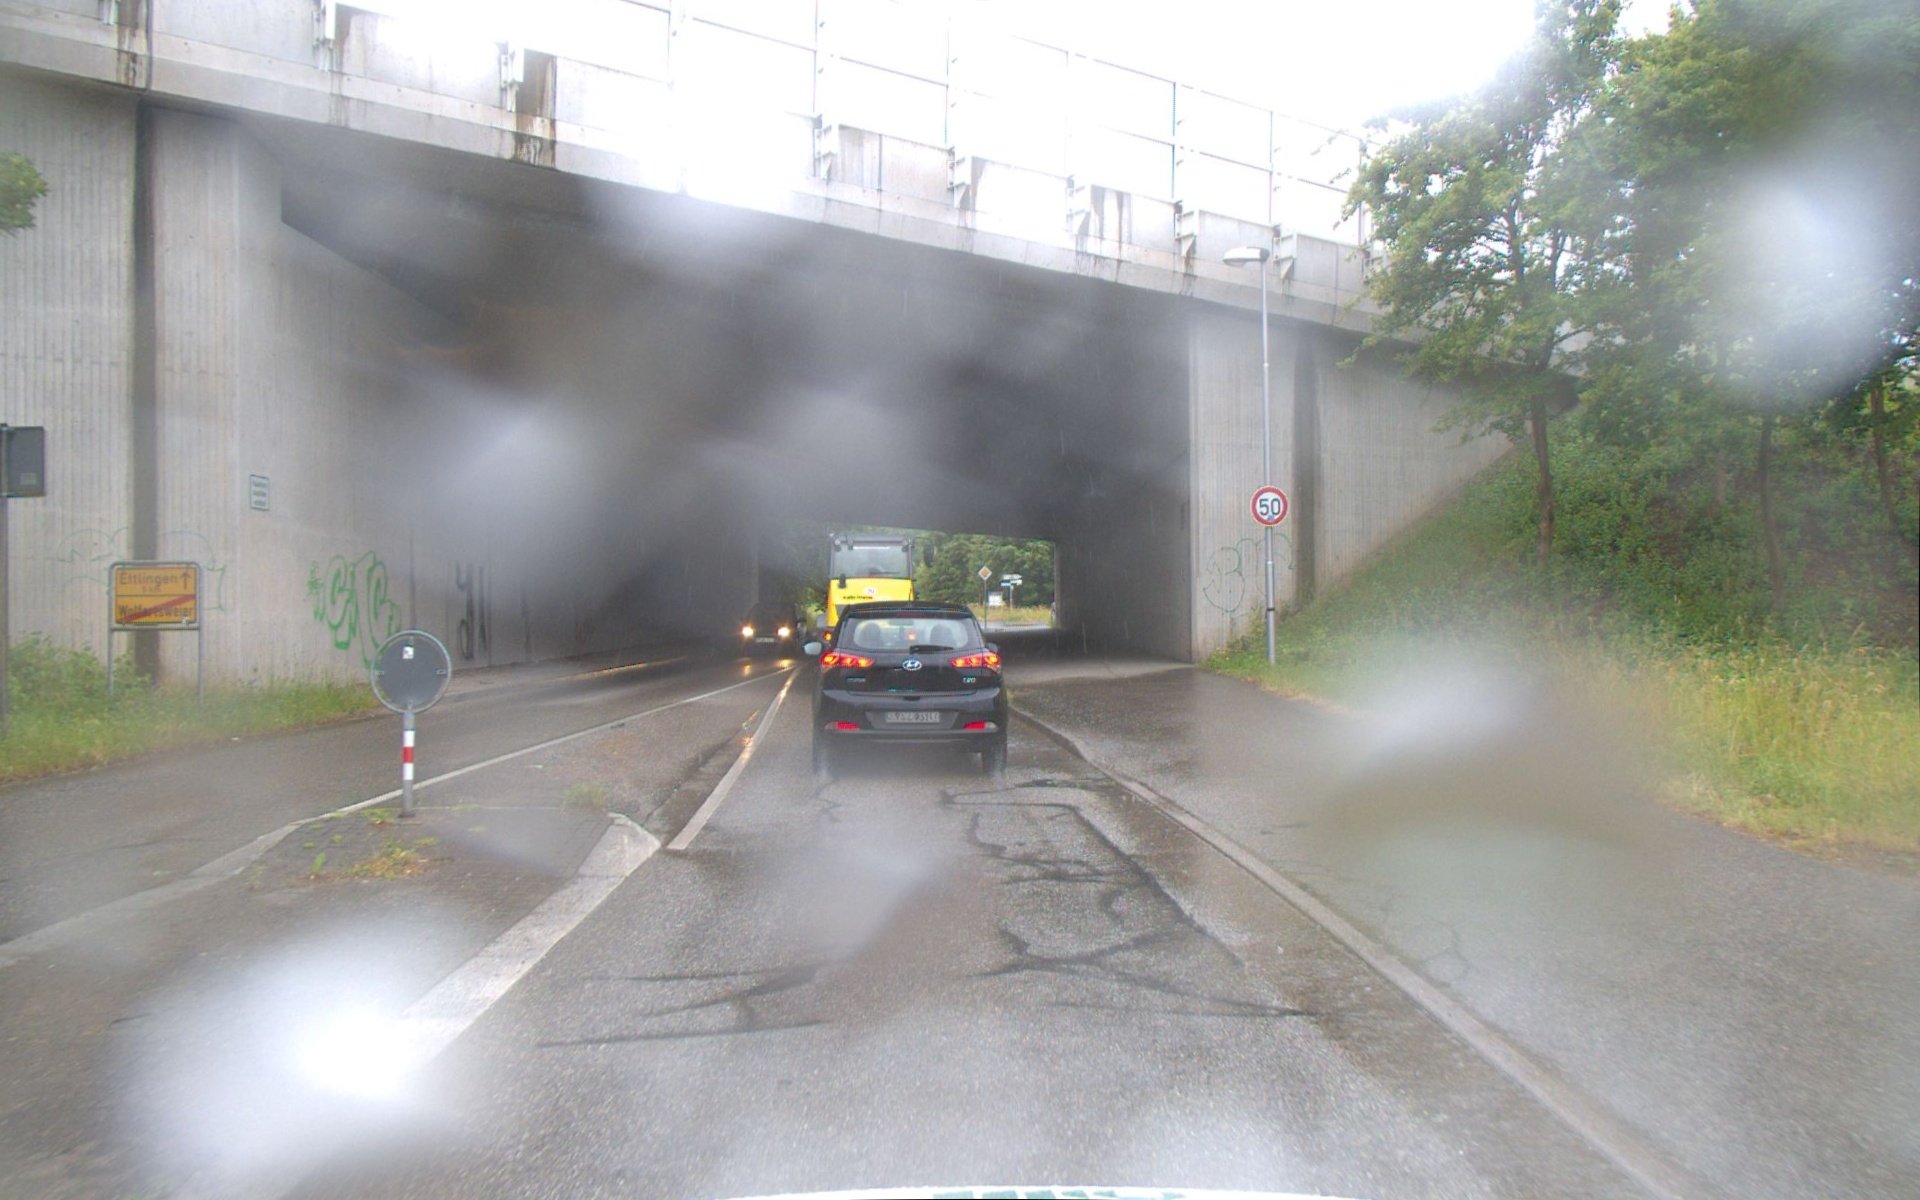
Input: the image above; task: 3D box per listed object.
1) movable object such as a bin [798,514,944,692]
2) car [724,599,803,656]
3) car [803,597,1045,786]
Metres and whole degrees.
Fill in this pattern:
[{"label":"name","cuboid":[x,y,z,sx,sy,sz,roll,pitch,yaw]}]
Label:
[{"label":"movable object such as a bin","cuboid":[-1.529,0.062,28.884,2.201,2.716,6.622,1,0,-3]},{"label":"car","cuboid":[-5.425,0.724,46.064,1.656,1.513,4.073,0,0,1]},{"label":"car","cuboid":[-0.387,0.758,15.519,1.954,1.513,3.998,1,0,-3]}]
